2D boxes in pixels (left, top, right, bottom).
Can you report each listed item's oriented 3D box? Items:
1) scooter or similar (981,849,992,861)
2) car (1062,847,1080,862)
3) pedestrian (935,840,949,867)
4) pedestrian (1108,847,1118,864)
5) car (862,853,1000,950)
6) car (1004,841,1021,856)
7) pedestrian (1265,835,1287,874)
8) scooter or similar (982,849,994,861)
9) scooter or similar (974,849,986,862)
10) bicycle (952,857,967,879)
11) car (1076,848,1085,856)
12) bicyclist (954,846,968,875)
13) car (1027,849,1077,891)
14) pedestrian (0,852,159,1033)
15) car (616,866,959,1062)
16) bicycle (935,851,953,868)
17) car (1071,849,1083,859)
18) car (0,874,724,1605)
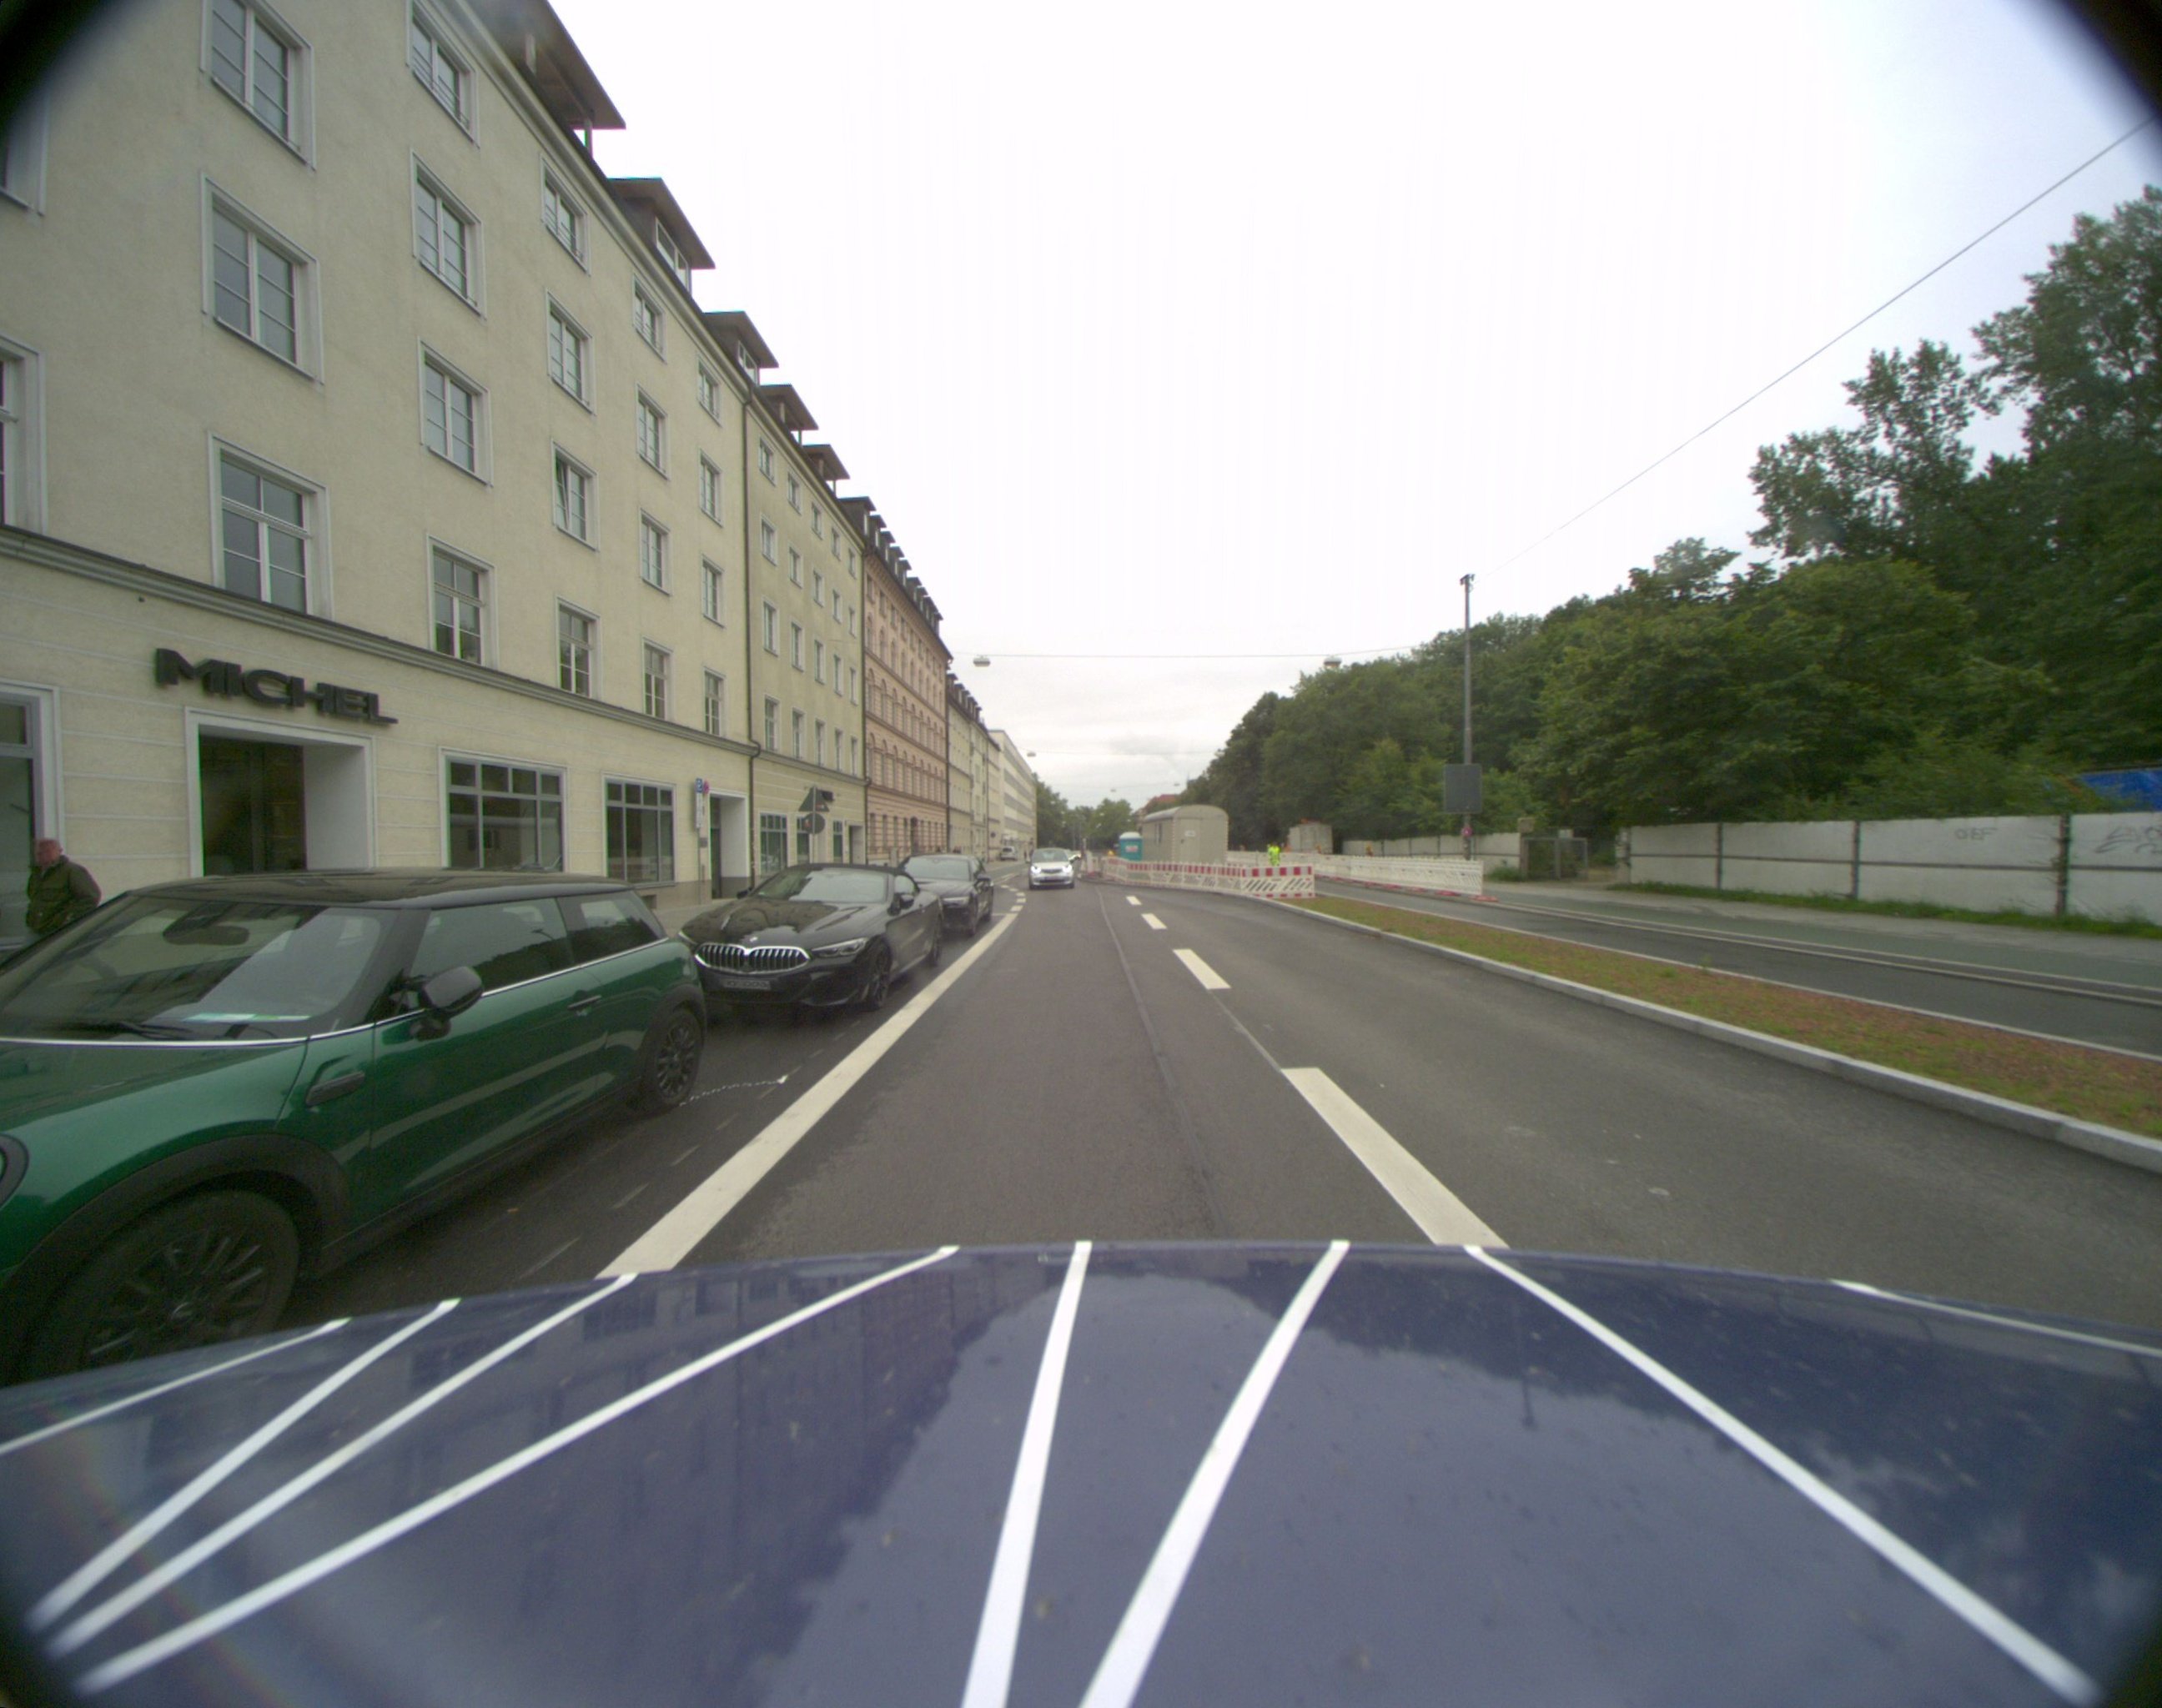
[{"bbox_3d":[-9.858,0.085,79.576,1.079,1.185,0.436,-1,2,-39],"label":"scooter or similar"},{"bbox_3d":[-1.081,0.063,81.356,1.759,1.461,3.999,-2,1,-1],"label":"car"},{"bbox_3d":[-9.334,-0.036,51.040,0.795,1.735,0.833,-1,1,1],"label":"pedestrian"},{"bbox_3d":[3.420,0.188,80.813,0.860,1.826,0.874,-1,1,-7],"label":"pedestrian"},{"bbox_3d":[-2.711,0.781,14.793,1.813,1.472,4.461,3,1,-1],"label":"car"},{"bbox_3d":[-8.565,-0.704,95.881,1.766,1.821,3.999,-1,1,0],"label":"car"},{"bbox_3d":[9.888,0.023,38.599,0.890,1.930,0.875,-1,1,-2],"label":"pedestrian"},{"bbox_3d":[-9.597,0.086,78.240,1.078,1.185,0.453,-1,1,-29],"label":"scooter or similar"},{"bbox_3d":[-9.749,0.111,73.404,0.552,1.238,1.079,0,1,35],"label":"scooter or similar"},{"bbox_3d":[-6.091,0.676,38.103,0.632,1.031,2.016,-1,1,-6],"label":"bicycle"},{"bbox_3d":[-0.183,-0.451,159.035,1.759,1.461,3.999,-2,1,-1],"label":"car"},{"bbox_3d":[-6.026,0.321,38.120,0.632,1.459,0.652,-1,1,-6],"label":"bicyclist"},{"bbox_3d":[-1.155,0.557,29.745,1.759,1.461,3.998,-2,1,-3],"label":"car"},{"bbox_3d":[-10.088,0.828,7.538,0.780,1.679,0.861,0,1,1],"label":"pedestrian"},{"bbox_3d":[-2.757,0.935,8.501,1.830,1.399,4.719,-2,1,2],"label":"car"},{"bbox_3d":[-9.853,0.403,54.793,0.556,1.170,1.727,0,1,15],"label":"bicycle"},{"bbox_3d":[-0.671,0.019,115.583,1.759,1.461,3.999,-2,1,-1],"label":"car"},{"bbox_3d":[-3.242,0.935,3.028,1.679,1.512,3.829,-2,1,2],"label":"car"}]
